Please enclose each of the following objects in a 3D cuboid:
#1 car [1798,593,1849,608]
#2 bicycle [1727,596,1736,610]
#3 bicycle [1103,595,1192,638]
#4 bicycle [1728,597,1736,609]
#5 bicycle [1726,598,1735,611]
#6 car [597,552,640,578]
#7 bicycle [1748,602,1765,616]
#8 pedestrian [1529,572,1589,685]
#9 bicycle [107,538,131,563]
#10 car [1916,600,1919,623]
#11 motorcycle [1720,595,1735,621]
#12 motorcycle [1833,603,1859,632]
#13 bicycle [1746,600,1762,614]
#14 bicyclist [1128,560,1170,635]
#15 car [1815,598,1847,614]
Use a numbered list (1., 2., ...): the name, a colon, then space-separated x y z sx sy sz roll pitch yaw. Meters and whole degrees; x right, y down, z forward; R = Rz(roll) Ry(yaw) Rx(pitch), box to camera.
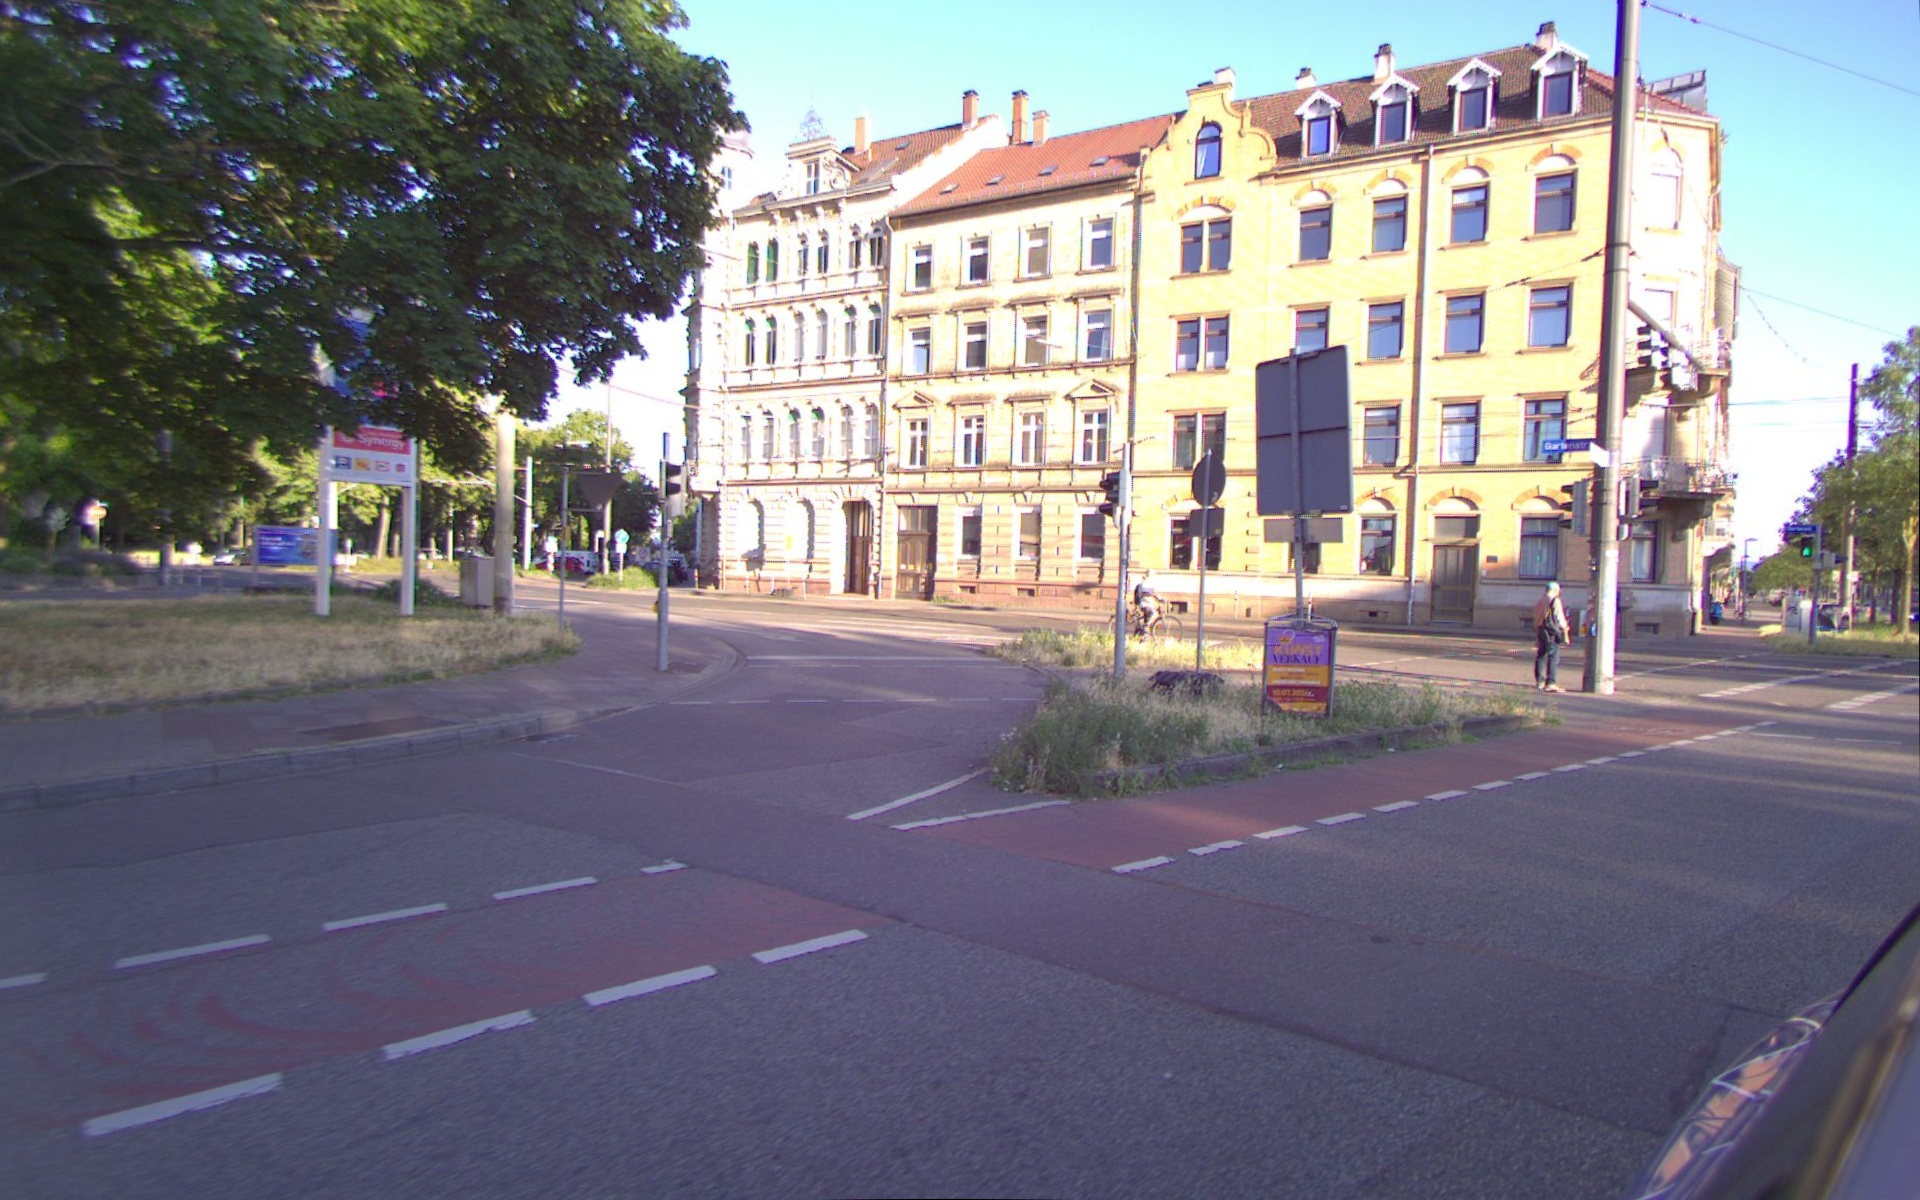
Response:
1. car: 108.274 0.072 126.946 1.875 1.712 4.443 1 1 -16
2. bicycle: 67.240 0.285 88.198 0.483 1.178 1.722 9 6 38
3. bicycle: 4.106 0.355 22.232 1.800 0.839 0.616 3 2 31
4. bicycle: 74.772 0.272 97.984 0.571 1.086 1.870 4 2 38
5. bicycle: 62.095 0.364 81.548 0.482 1.018 1.722 2 2 38
6. car: -22.838 -2.354 67.768 1.787 1.638 4.005 2 2 -5
7. bicycle: 56.668 0.646 72.004 0.871 0.927 2.054 5 3 40
8. pedestrian: 9.061 0.414 15.299 0.688 1.649 0.553 1 2 -42
9. bicycle: -36.811 -2.148 44.310 1.715 0.994 0.551 0 -1 41
10. car: 71.989 0.880 74.610 3.935 1.685 1.995 0 2 -45
11. motorcycle: 37.986 0.385 50.087 0.552 1.229 2.045 1 1 37
12. motorcycle: 33.745 0.644 38.557 1.716 1.057 0.605 0 2 -45
13. bicycle: 58.126 0.496 74.069 0.733 0.959 2.304 4 3 42
14. bicyclist: 4.148 -0.068 22.206 0.690 1.603 0.631 2 2 30
15. car: 80.046 0.542 93.089 1.941 1.463 4.841 -1 0 38
